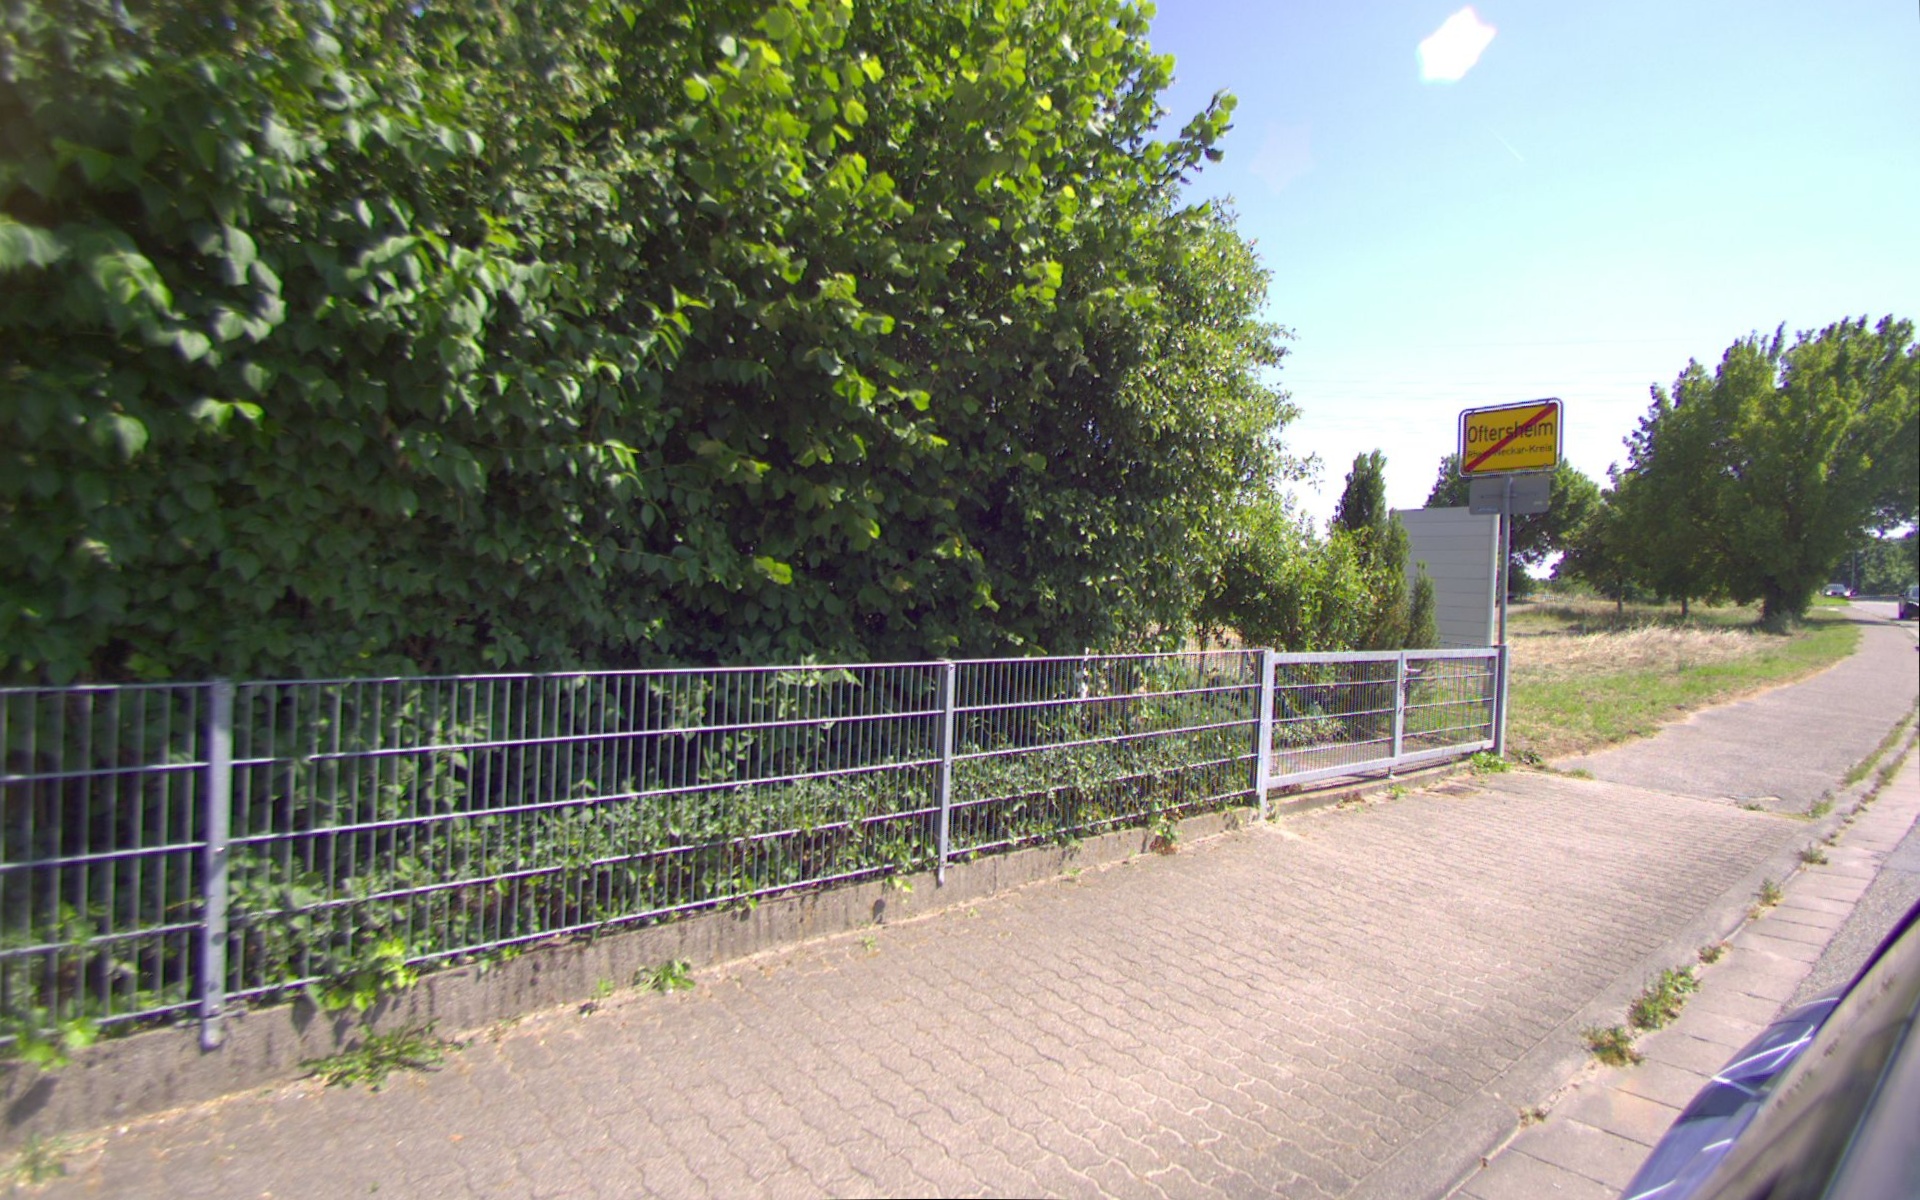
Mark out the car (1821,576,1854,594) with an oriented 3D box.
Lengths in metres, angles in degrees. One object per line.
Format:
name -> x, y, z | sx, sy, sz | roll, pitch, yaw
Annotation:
car -> 84.338, -1.433, 97.263 | 1.988, 1.551, 3.948 | 1, 0, 36

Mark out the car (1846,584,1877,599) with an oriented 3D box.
car -> 109.784, -1.000, 123.269 | 1.866, 1.592, 4.424 | 2, -1, 29

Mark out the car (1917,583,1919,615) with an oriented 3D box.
car -> 46.493, -0.015, 47.655 | 1.757, 1.558, 3.632 | 2, 1, 39
